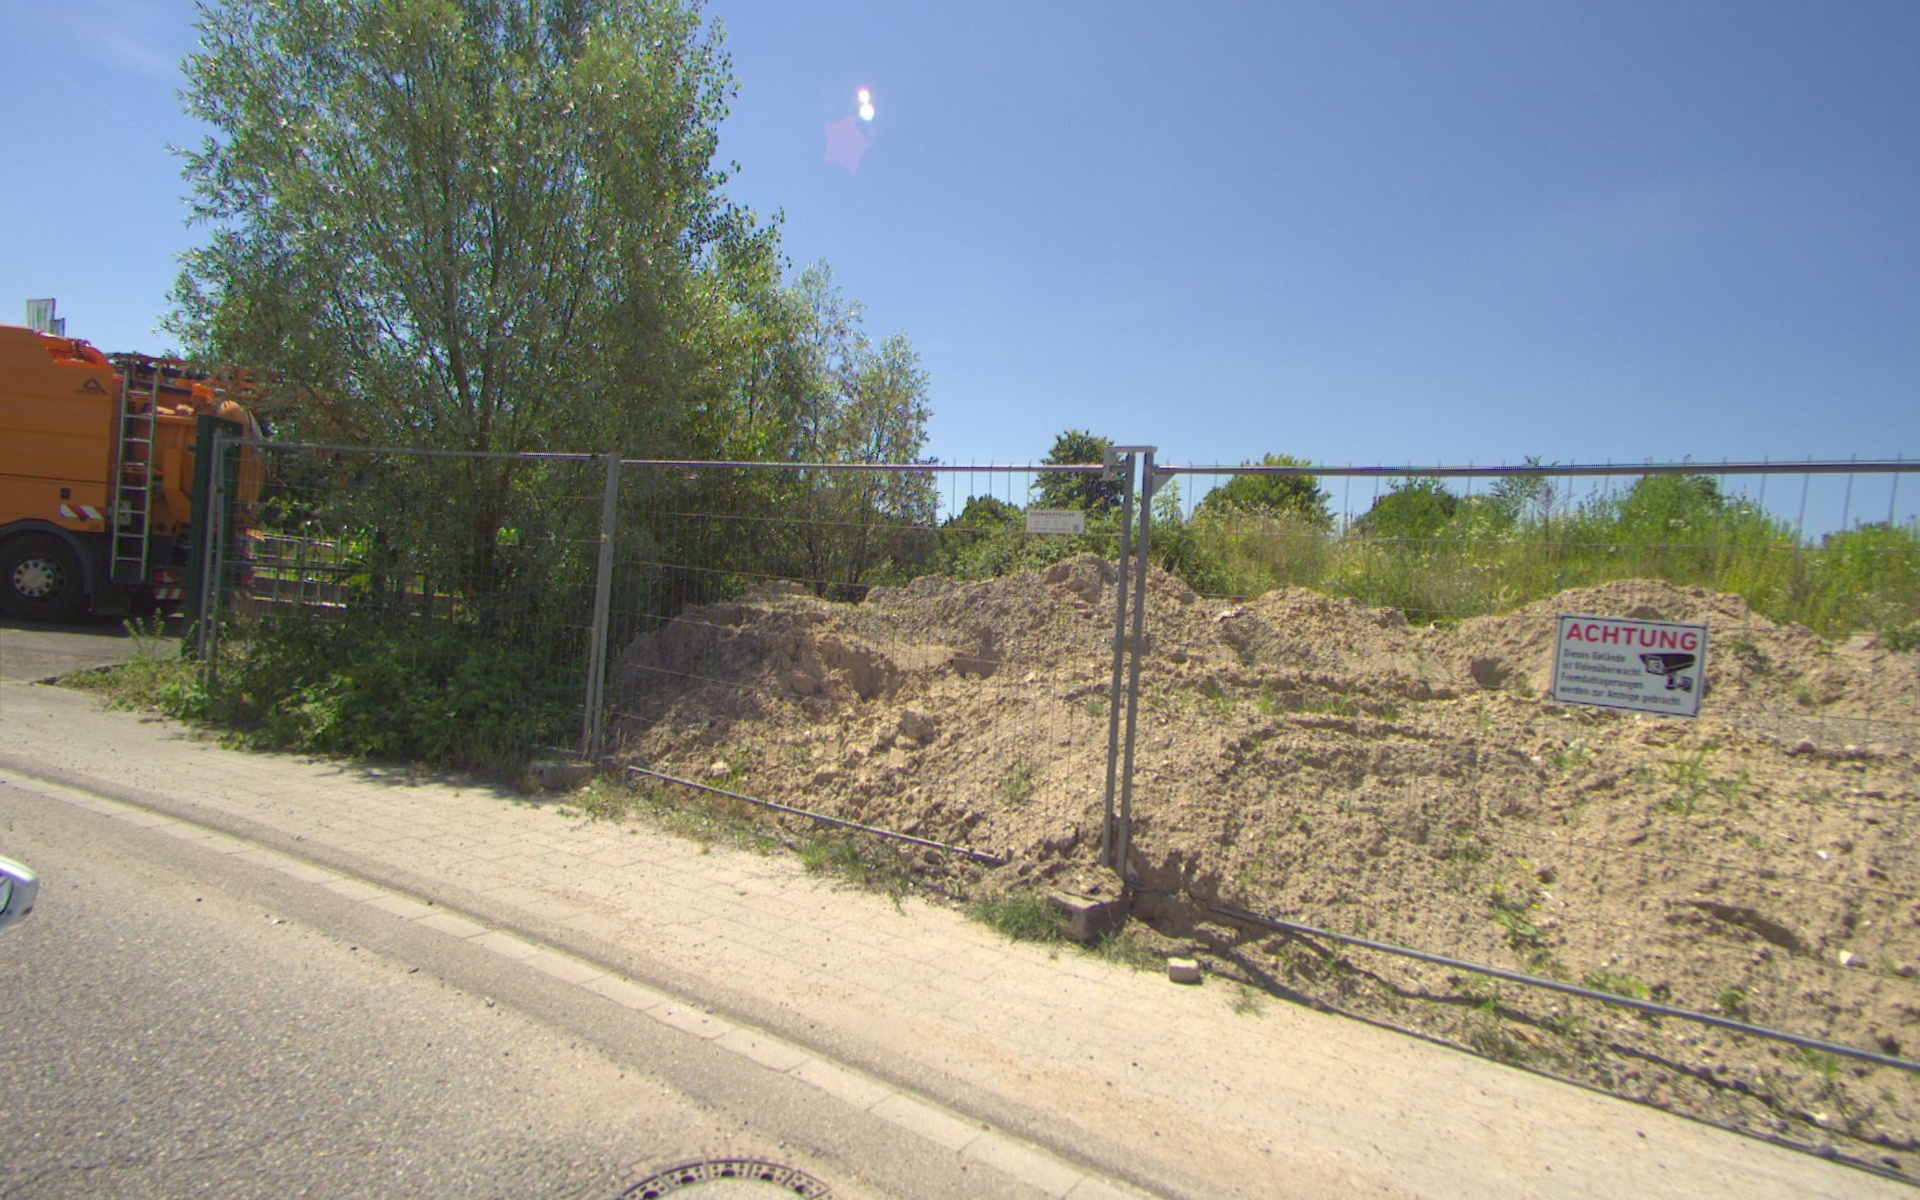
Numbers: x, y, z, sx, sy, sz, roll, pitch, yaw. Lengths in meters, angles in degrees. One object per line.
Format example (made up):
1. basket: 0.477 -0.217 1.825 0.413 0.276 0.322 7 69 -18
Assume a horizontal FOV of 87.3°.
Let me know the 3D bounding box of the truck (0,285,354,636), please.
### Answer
1. truck: -13.597 -1.931 13.229 8.463 3.856 4.156 5 1 -10

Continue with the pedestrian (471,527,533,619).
1. pedestrian: -9.714 -0.566 21.369 0.863 1.848 0.738 6 2 -7
